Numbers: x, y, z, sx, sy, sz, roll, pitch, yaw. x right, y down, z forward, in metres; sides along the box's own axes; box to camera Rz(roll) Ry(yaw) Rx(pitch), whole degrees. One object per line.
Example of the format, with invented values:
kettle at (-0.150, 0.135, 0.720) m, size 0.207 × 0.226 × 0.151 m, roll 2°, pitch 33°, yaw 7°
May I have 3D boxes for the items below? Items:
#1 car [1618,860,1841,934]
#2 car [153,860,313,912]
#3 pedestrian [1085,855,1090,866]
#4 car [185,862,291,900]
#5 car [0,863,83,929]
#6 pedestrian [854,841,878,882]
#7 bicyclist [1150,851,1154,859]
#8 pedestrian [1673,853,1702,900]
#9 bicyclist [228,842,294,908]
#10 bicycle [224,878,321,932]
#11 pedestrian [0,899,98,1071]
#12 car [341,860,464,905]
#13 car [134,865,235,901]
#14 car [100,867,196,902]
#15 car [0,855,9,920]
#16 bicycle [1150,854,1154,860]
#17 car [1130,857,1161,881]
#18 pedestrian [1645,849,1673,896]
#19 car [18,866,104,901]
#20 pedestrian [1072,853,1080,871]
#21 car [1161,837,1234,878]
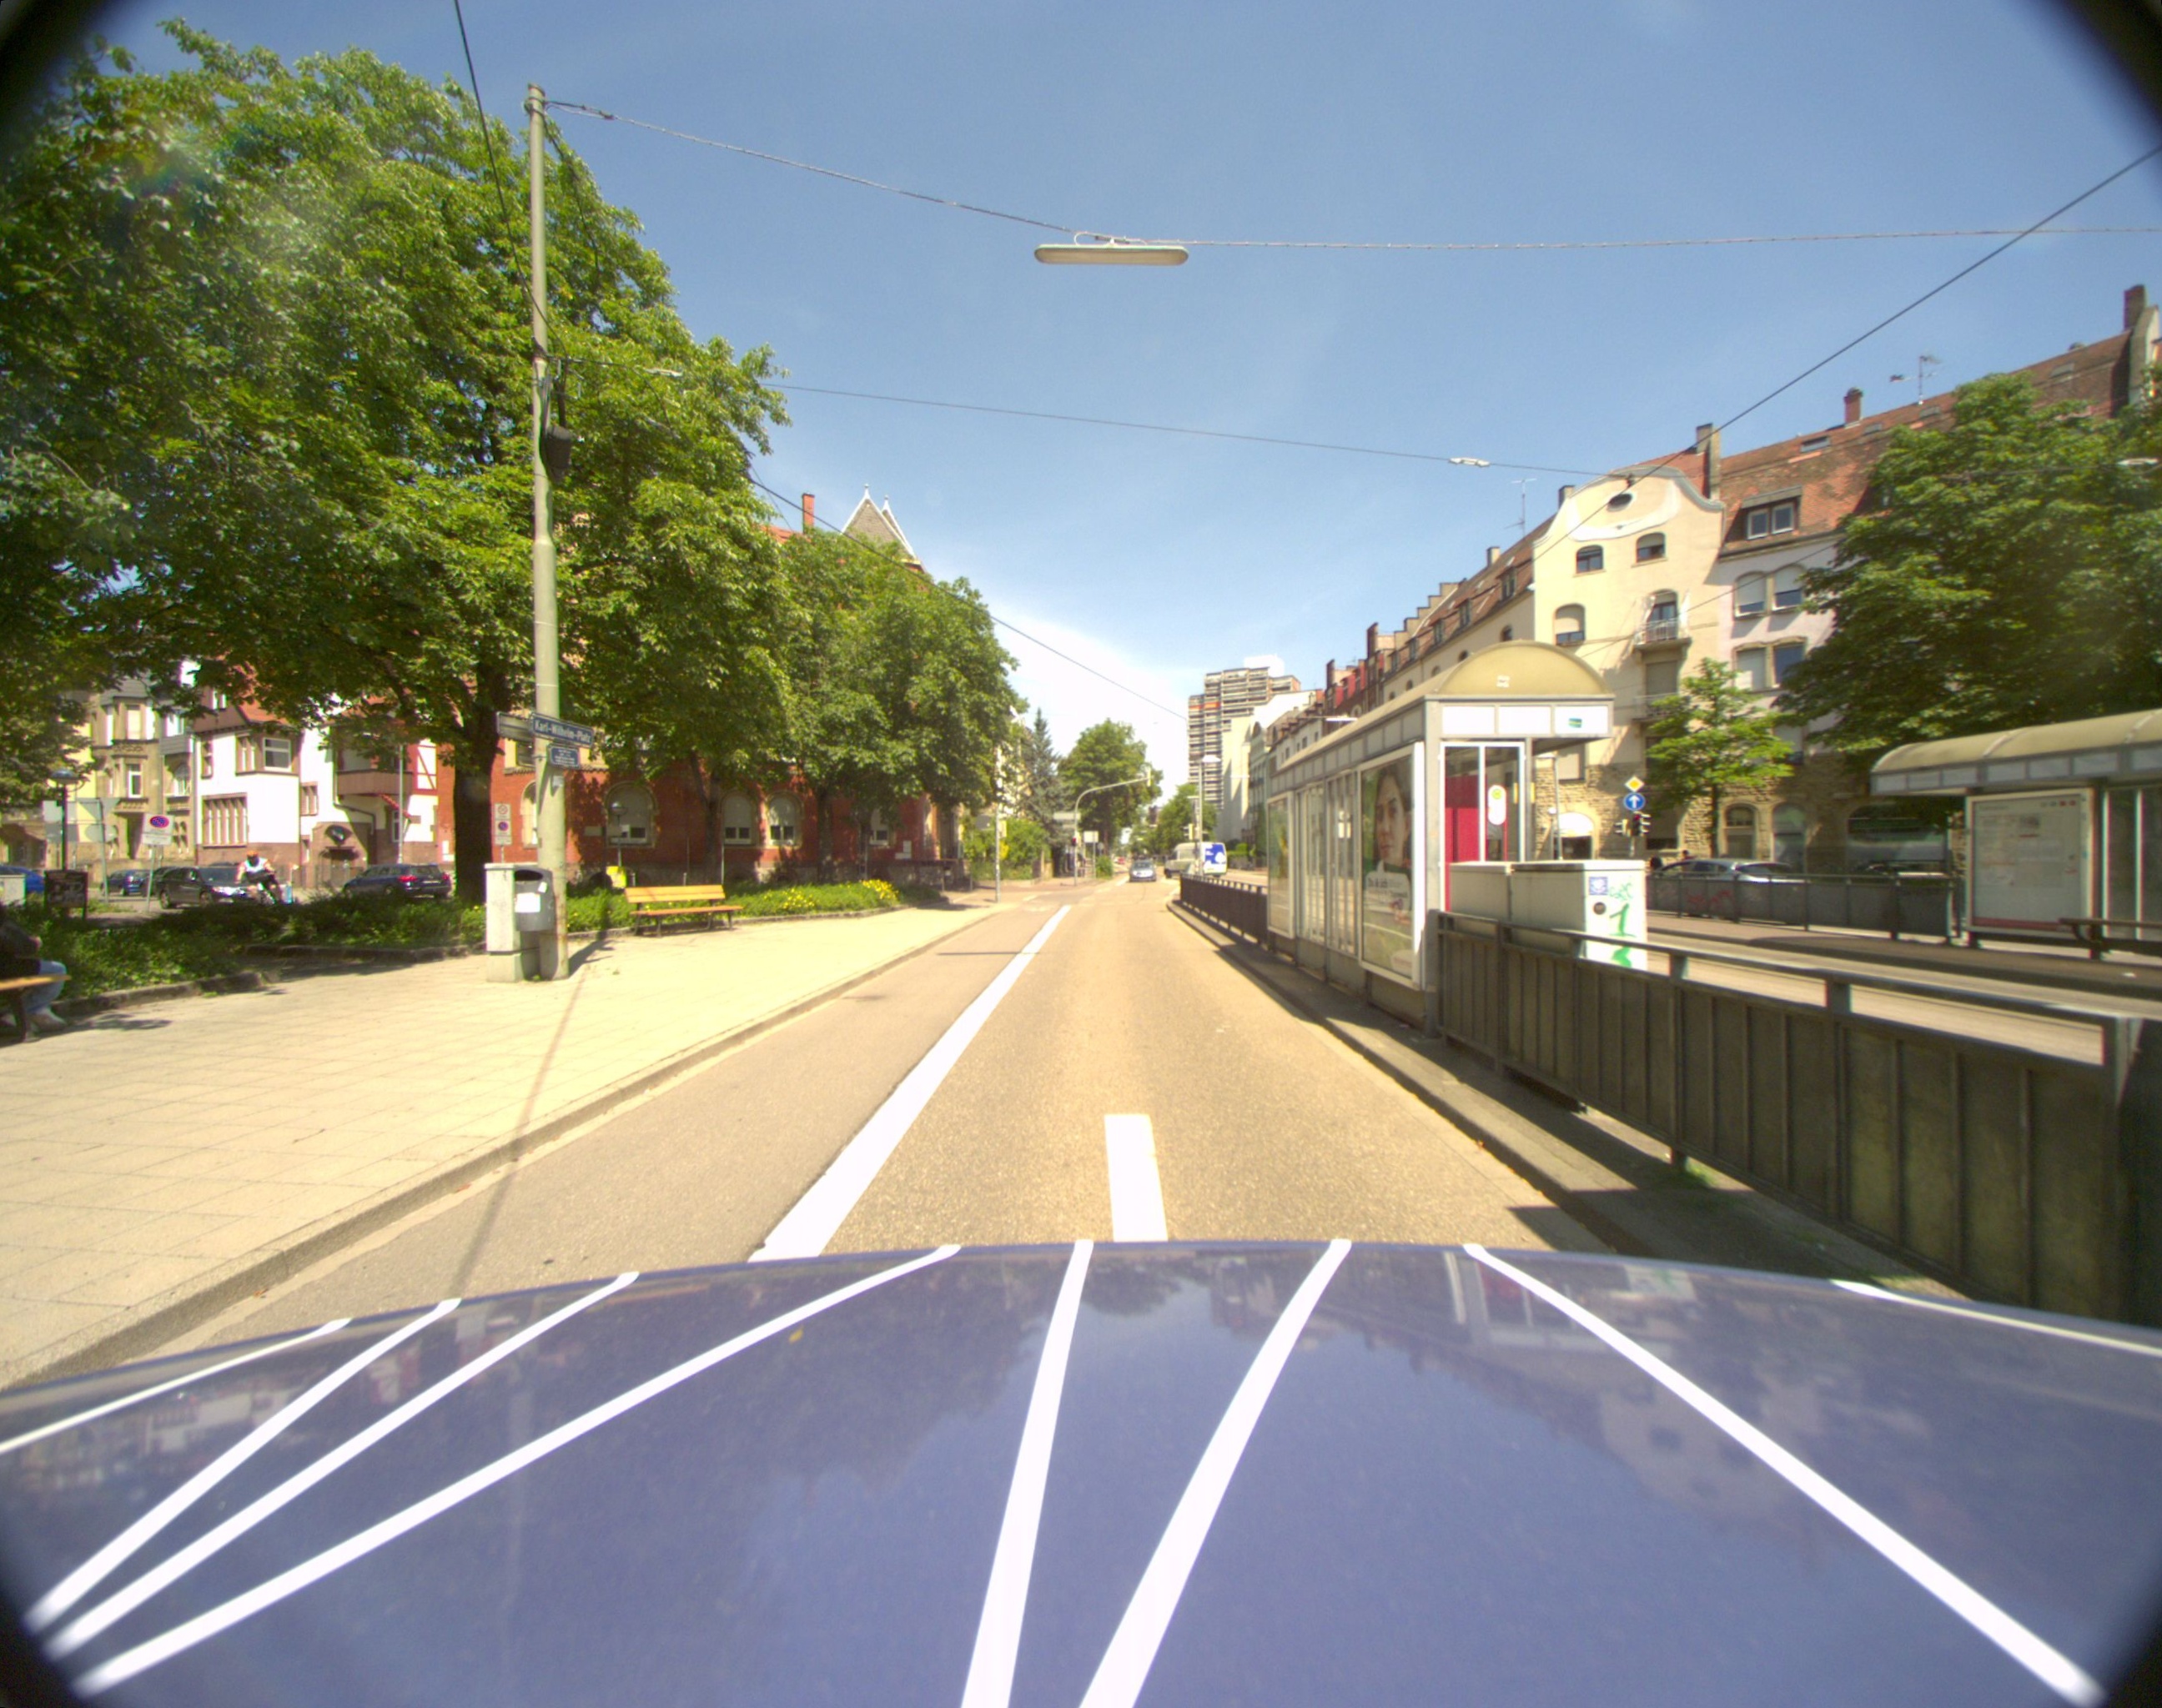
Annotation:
car at (14.840, 0.904, 17.725) m, size 1.812 × 1.386 × 3.999 m, roll -2°, pitch 1°, yaw 1°
car at (-29.267, 1.099, 26.244) m, size 4.515 × 1.608 × 1.940 m, roll -2°, pitch 1°, yaw 18°
pedestrian at (1.064, 1.041, 127.191) m, size 0.686 × 1.732 × 0.660 m, roll -2°, pitch 1°, yaw 3°
car at (-39.586, 1.273, 35.669) m, size 4.299 × 1.608 × 1.941 m, roll -2°, pitch 1°, yaw 23°
car at (-32.841, 1.299, 22.030) m, size 1.934 × 1.869 × 4.315 m, roll -2°, pitch 1°, yaw 23°
pedestrian at (-9.766, 0.335, 34.539) m, size 0.840 × 1.813 × 0.672 m, roll -1°, pitch 1°, yaw -37°
bicyclist at (18.143, 0.282, 194.230) m, size 0.644 × 1.864 × 0.716 m, roll -2°, pitch 1°, yaw -2°
pedestrian at (20.290, 0.746, 25.424) m, size 0.594 × 1.542 × 0.474 m, roll 0°, pitch 0°, yaw -1°
bicyclist at (-22.006, 0.555, 20.418) m, size 0.876 × 1.686 × 1.251 m, roll -3°, pitch 1°, yaw -34°
bicycle at (-22.503, 1.364, 21.250) m, size 0.957 × 1.256 × 3.735 m, roll -3°, pitch 1°, yaw -33°
pedestrian at (-7.742, 0.910, 5.418) m, size 0.566 × 1.136 × 0.725 m, roll 0°, pitch 1°, yaw -16°
car at (-27.041, 1.130, 30.289) m, size 4.299 × 1.608 × 1.941 m, roll -2°, pitch 1°, yaw 23°
car at (-44.146, 1.428, 37.416) m, size 4.299 × 1.608 × 1.941 m, roll -2°, pitch 1°, yaw 23°
car at (-48.419, 1.570, 39.438) m, size 4.299 × 1.608 × 1.941 m, roll -2°, pitch 1°, yaw 23°
car at (-37.657, 1.199, 23.798) m, size 1.934 × 2.178 × 4.315 m, roll -2°, pitch 1°, yaw 23°
bicycle at (18.170, 0.736, 194.247) m, size 0.644 × 1.503 × 1.970 m, roll -2°, pitch 1°, yaw -2°
car at (4.310, 0.987, 50.818) m, size 1.895 × 1.372 × 4.001 m, roll -2°, pitch 1°, yaw 5°
pedestrian at (20.160, 0.643, 26.508) m, size 0.594 × 1.637 × 0.474 m, roll 0°, pitch 0°, yaw 1°
car at (-59.174, 1.708, 44.084) m, size 4.299 × 1.862 × 1.941 m, roll -2°, pitch 1°, yaw 23°
pedestrian at (-0.468, 0.756, 73.023) m, size 0.702 × 1.645 × 0.665 m, roll 0°, pitch 0°, yaw 1°
car at (8.213, 0.227, 54.184) m, size 2.277 × 2.658 × 5.816 m, roll -3°, pitch 1°, yaw -23°
